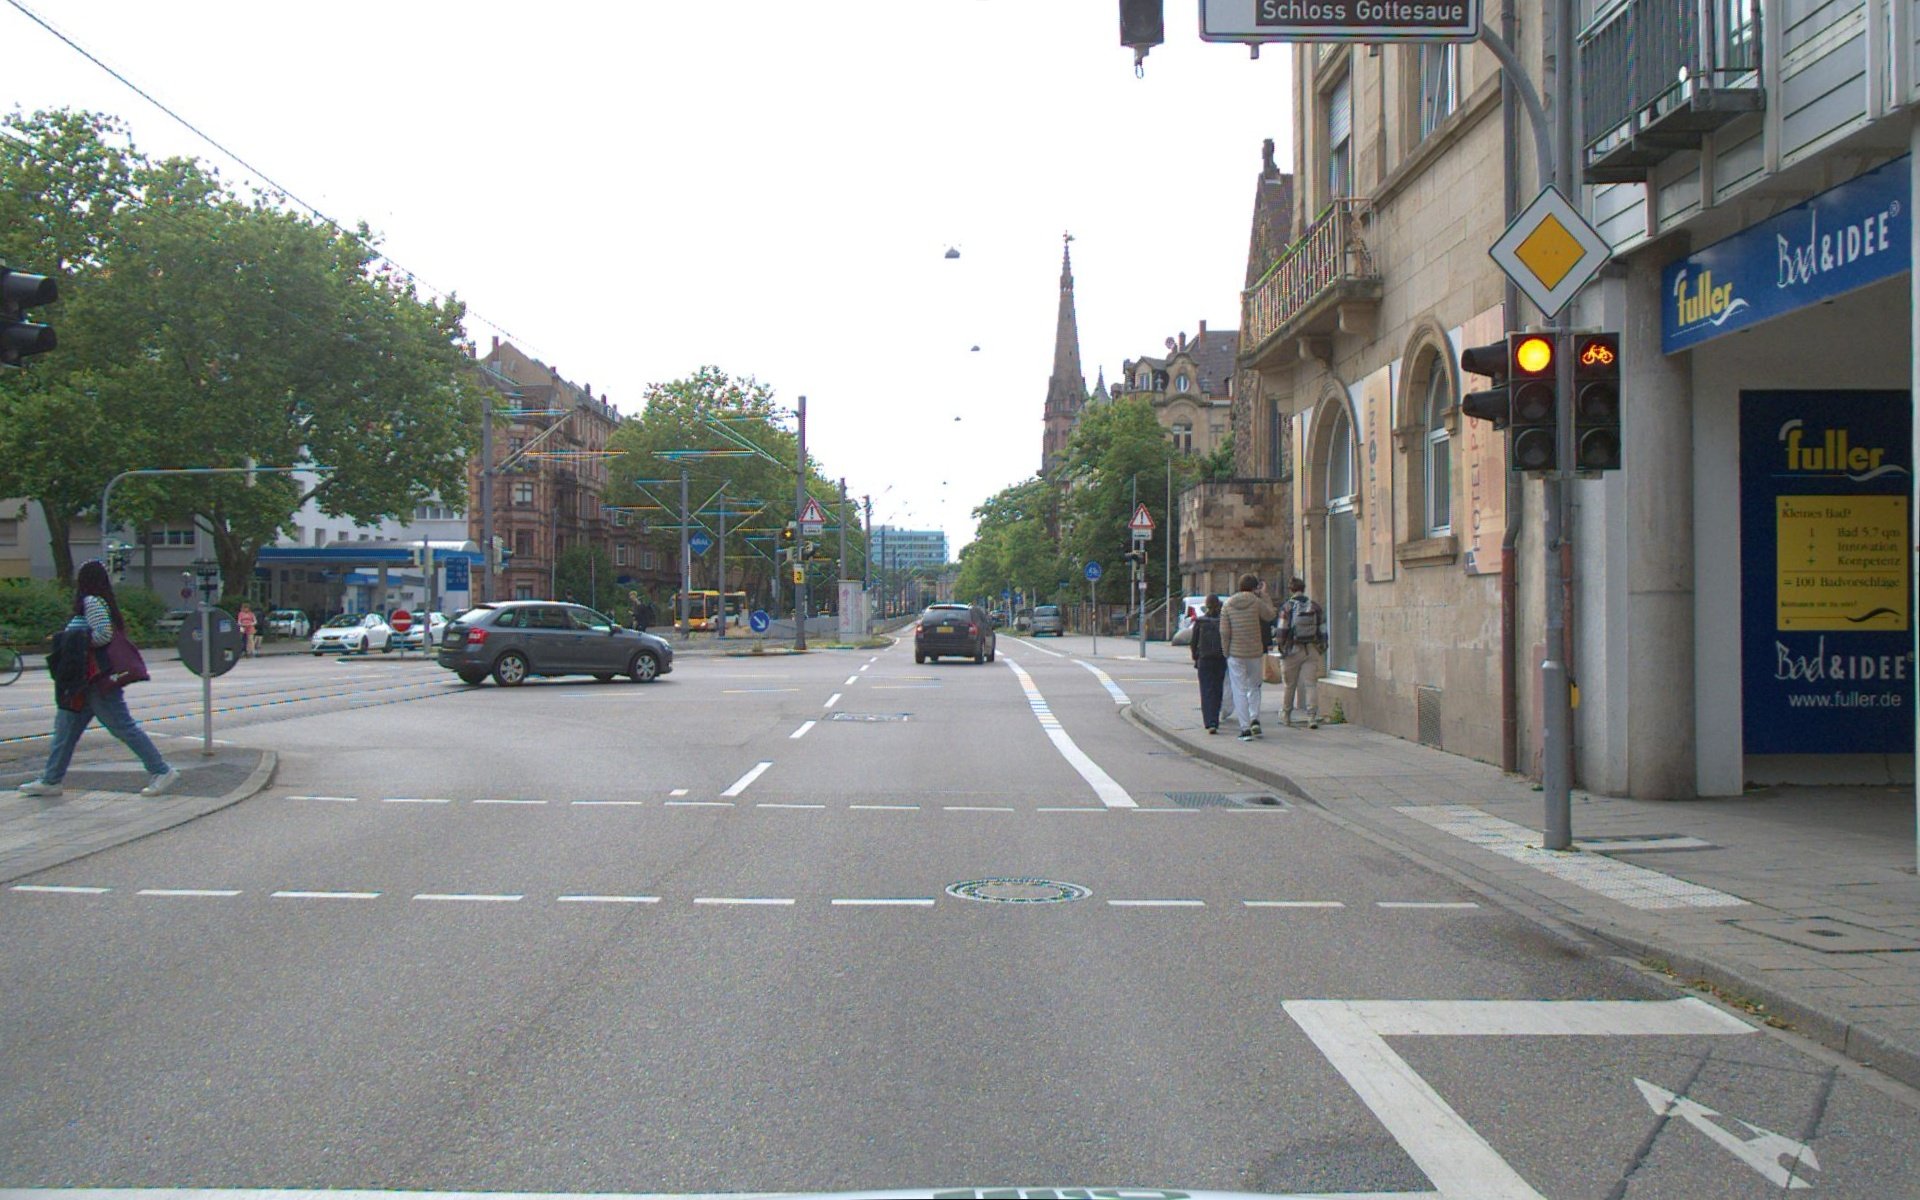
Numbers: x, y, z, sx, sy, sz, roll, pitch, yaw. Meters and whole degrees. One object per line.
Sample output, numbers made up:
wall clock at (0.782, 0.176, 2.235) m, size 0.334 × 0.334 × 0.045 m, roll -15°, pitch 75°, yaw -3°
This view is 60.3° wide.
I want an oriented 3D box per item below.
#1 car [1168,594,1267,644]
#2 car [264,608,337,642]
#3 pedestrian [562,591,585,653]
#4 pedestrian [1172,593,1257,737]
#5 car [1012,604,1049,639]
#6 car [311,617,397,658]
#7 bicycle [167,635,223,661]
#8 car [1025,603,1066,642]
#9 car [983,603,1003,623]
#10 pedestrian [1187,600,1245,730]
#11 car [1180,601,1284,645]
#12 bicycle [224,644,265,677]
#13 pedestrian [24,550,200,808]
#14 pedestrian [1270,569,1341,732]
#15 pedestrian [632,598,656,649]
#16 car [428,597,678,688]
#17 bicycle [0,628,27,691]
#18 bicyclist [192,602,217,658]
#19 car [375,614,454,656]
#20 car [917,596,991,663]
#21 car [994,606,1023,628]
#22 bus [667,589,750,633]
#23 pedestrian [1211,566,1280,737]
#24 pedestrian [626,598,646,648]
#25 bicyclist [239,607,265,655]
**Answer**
car at (10.635, 0.781, 68.457) m, size 3.721 × 1.937 × 2.000 m, roll 1°, pitch -1°, yaw -1°
car at (-31.857, 1.193, 79.967) m, size 1.953 × 1.557 × 3.999 m, roll 1°, pitch -1°, yaw -1°
pedestrian at (-11.489, 0.654, 49.166) m, size 0.562 × 1.826 × 0.518 m, roll 1°, pitch -1°, yaw -5°
pedestrian at (3.072, 0.772, 19.940) m, size 0.616 × 1.681 × 0.993 m, roll 0°, pitch -1°, yaw 36°
car at (4.213, 1.286, 99.705) m, size 1.953 × 2.049 × 3.999 m, roll 1°, pitch -1°, yaw -1°
car at (-21.414, 1.302, 58.576) m, size 1.601 × 1.349 × 3.999 m, roll 1°, pitch -1°, yaw -1°
bicycle at (-24.944, 1.558, 53.930) m, size 1.645 × 0.786 × 0.656 m, roll 1°, pitch -1°, yaw 20°
car at (4.642, 1.214, 90.124) m, size 1.953 × 2.049 × 3.999 m, roll 1°, pitch -1°, yaw -1°
car at (3.454, 1.357, 172.407) m, size 1.953 × 2.049 × 3.999 m, roll 1°, pitch -1°, yaw -1°
pedestrian at (3.269, 0.815, 21.175) m, size 0.685 × 1.621 × 0.831 m, roll 1°, pitch -1°, yaw 7°
car at (10.682, 0.914, 65.046) m, size 3.721 × 1.629 × 2.000 m, roll 1°, pitch -1°, yaw -1°
bicycle at (-23.562, 1.981, 54.500) m, size 0.511 × 1.035 × 1.936 m, roll 1°, pitch -1°, yaw -1°
pedestrian at (-5.885, 0.526, 11.490) m, size 0.659 × 1.709 × 0.864 m, roll 0°, pitch -1°, yaw 38°
pedestrian at (4.013, 0.575, 19.250) m, size 0.613 × 1.809 × 1.135 m, roll -3°, pitch -1°, yaw 6°
pedestrian at (-9.843, 0.726, 51.557) m, size 0.640 × 1.564 × 0.465 m, roll 1°, pitch -1°, yaw -5°
car at (-7.198, 0.706, 29.401) m, size 3.955 × 1.495 × 1.815 m, roll 0°, pitch 0°, yaw -40°
bicycle at (-18.434, 1.090, 30.612) m, size 1.910 × 1.155 × 0.731 m, roll 1°, pitch -1°, yaw -22°
bicyclist at (-24.710, 0.978, 54.099) m, size 0.522 × 1.815 × 0.470 m, roll 1°, pitch -1°, yaw 19°
car at (-21.388, 1.358, 64.959) m, size 1.856 × 1.585 × 3.835 m, roll 1°, pitch -1°, yaw -1°
car at (-0.178, 0.739, 42.422) m, size 1.769 × 1.614 × 4.340 m, roll 1°, pitch -1°, yaw -1°
car at (3.750, 1.297, 128.511) m, size 1.953 × 1.635 × 4.163 m, roll -2°, pitch 0°, yaw -1°
bus at (-19.368, 0.859, 128.202) m, size 3.019 × 3.166 × 13.102 m, roll 1°, pitch -1°, yaw 6°
pedestrian at (3.206, 0.567, 18.511) m, size 0.571 × 1.845 × 1.015 m, roll 1°, pitch -1°, yaw 19°
pedestrian at (-10.205, 0.734, 52.081) m, size 0.535 × 1.564 × 0.465 m, roll 1°, pitch -1°, yaw -5°
bicyclist at (-23.522, 1.027, 54.940) m, size 0.576 × 1.595 × 0.618 m, roll 1°, pitch -1°, yaw -1°
